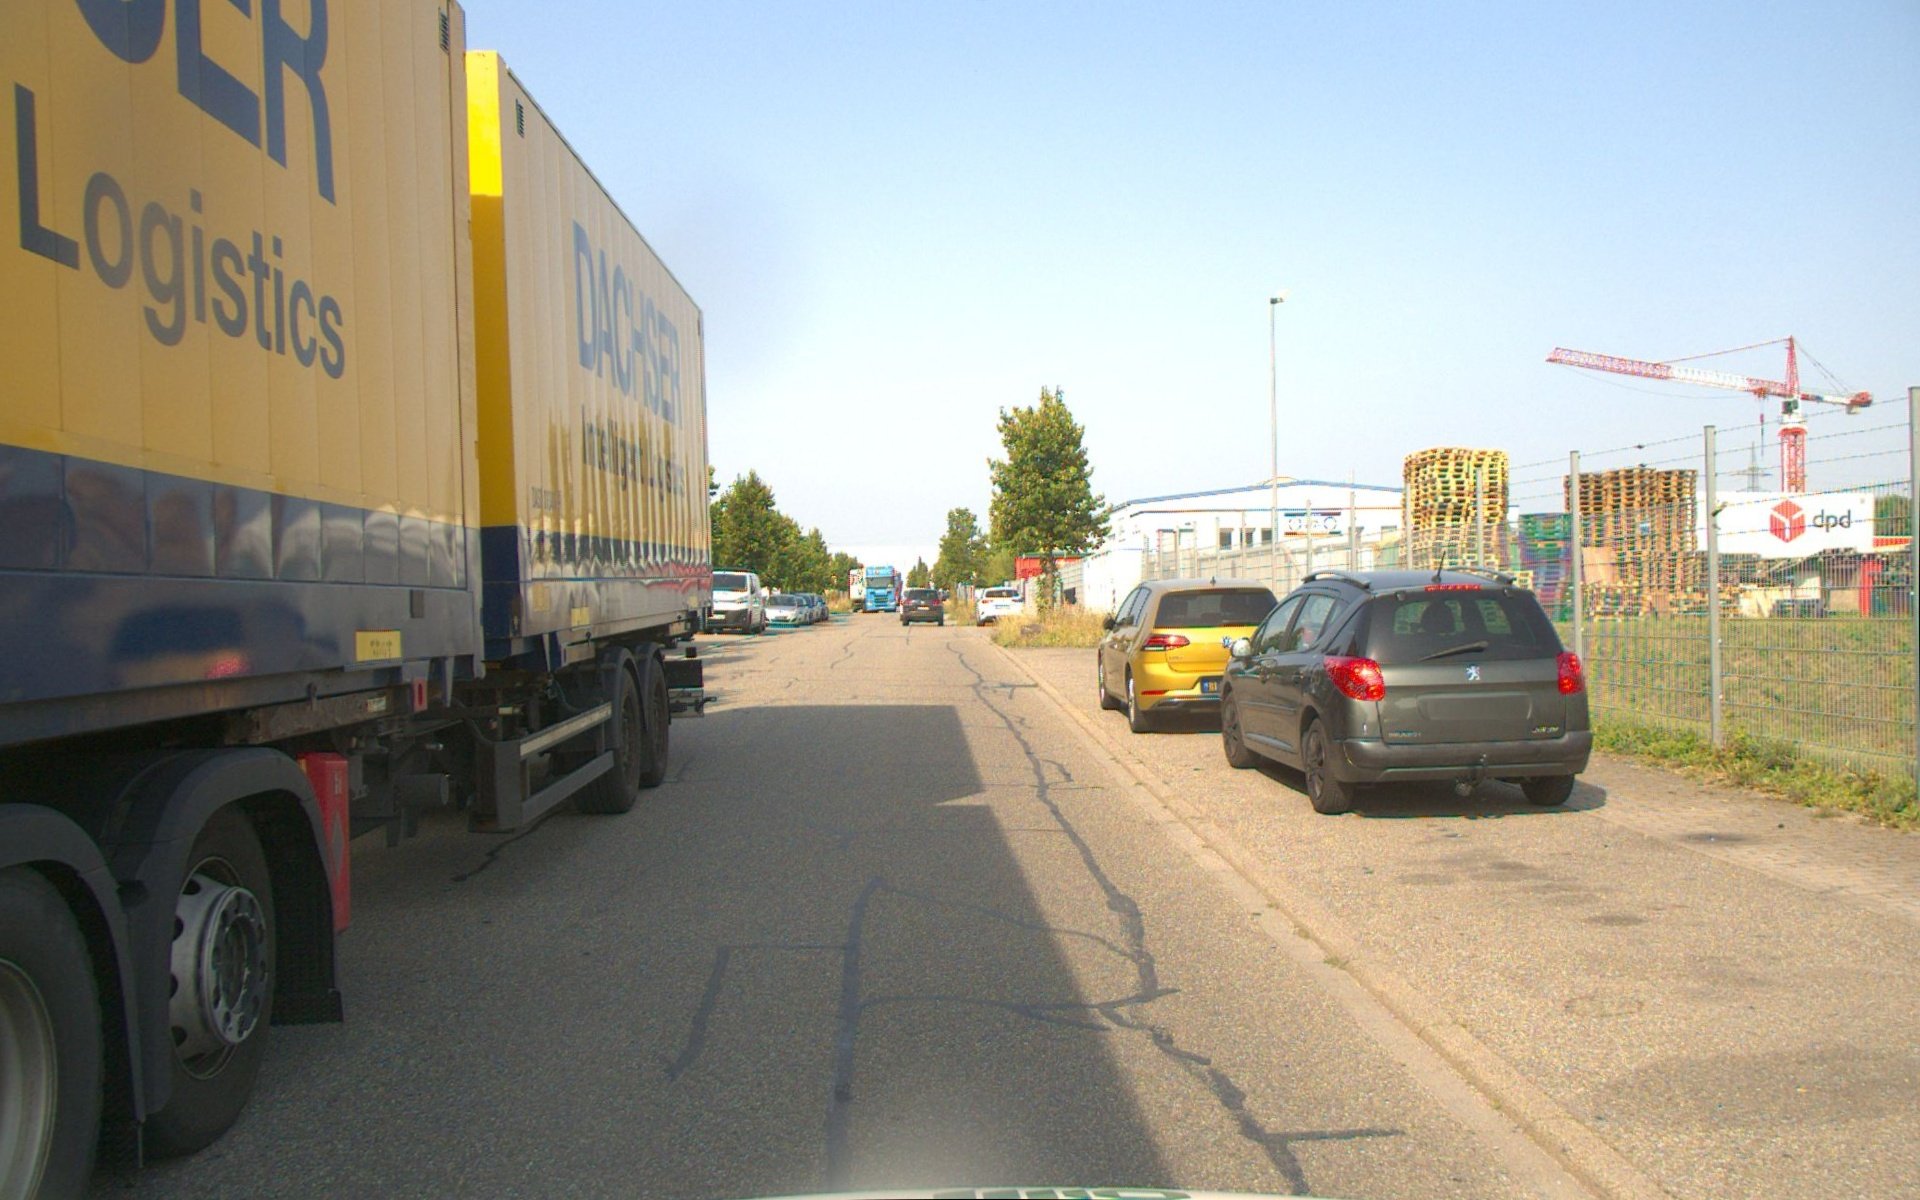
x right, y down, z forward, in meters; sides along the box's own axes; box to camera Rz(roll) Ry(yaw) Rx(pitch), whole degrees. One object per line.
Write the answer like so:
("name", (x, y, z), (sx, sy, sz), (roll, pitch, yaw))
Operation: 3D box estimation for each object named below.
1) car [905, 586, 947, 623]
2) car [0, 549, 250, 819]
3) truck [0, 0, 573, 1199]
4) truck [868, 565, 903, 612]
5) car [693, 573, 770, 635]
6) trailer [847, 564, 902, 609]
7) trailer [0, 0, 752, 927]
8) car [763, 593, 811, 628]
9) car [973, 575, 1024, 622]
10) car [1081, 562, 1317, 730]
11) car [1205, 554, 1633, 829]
("car", (-1.574, 0.193, 76.061), (1.843, 1.614, 4.111), (-1, 0, -2))
("car", (-6.822, 0.518, 11.503), (1.864, 1.654, 4.448), (-1, 0, -1))
("truck", (-2.916, -0.582, 2.303), (2.448, 4.217, 10.375), (-2, 0, -2))
("truck", (-6.277, -0.930, 138.483), (2.821, 3.826, 6.080), (0, 0, -3))
("car", (-6.914, 0.092, 50.330), (1.796, 1.793, 4.049), (1, 0, -1))
("trailer", (-7.669, -1.204, 146.885), (2.829, 3.826, 12.038), (0, 0, -13))
("trailer", (-3.209, -0.711, 11.807), (2.448, 4.217, 8.494), (-2, 0, -2))
("car", (-7.833, 0.438, 75.162), (1.769, 1.522, 3.935), (0, 0, -1))
("car", (1.445, -0.075, 63.249), (1.680, 1.709, 3.948), (0, 0, -2))
("car", (2.386, 0.411, 17.508), (1.680, 1.480, 4.185), (-3, 0, -2))
("car", (3.018, 0.525, 11.775), (1.681, 1.541, 4.001), (-3, 0, -3))
